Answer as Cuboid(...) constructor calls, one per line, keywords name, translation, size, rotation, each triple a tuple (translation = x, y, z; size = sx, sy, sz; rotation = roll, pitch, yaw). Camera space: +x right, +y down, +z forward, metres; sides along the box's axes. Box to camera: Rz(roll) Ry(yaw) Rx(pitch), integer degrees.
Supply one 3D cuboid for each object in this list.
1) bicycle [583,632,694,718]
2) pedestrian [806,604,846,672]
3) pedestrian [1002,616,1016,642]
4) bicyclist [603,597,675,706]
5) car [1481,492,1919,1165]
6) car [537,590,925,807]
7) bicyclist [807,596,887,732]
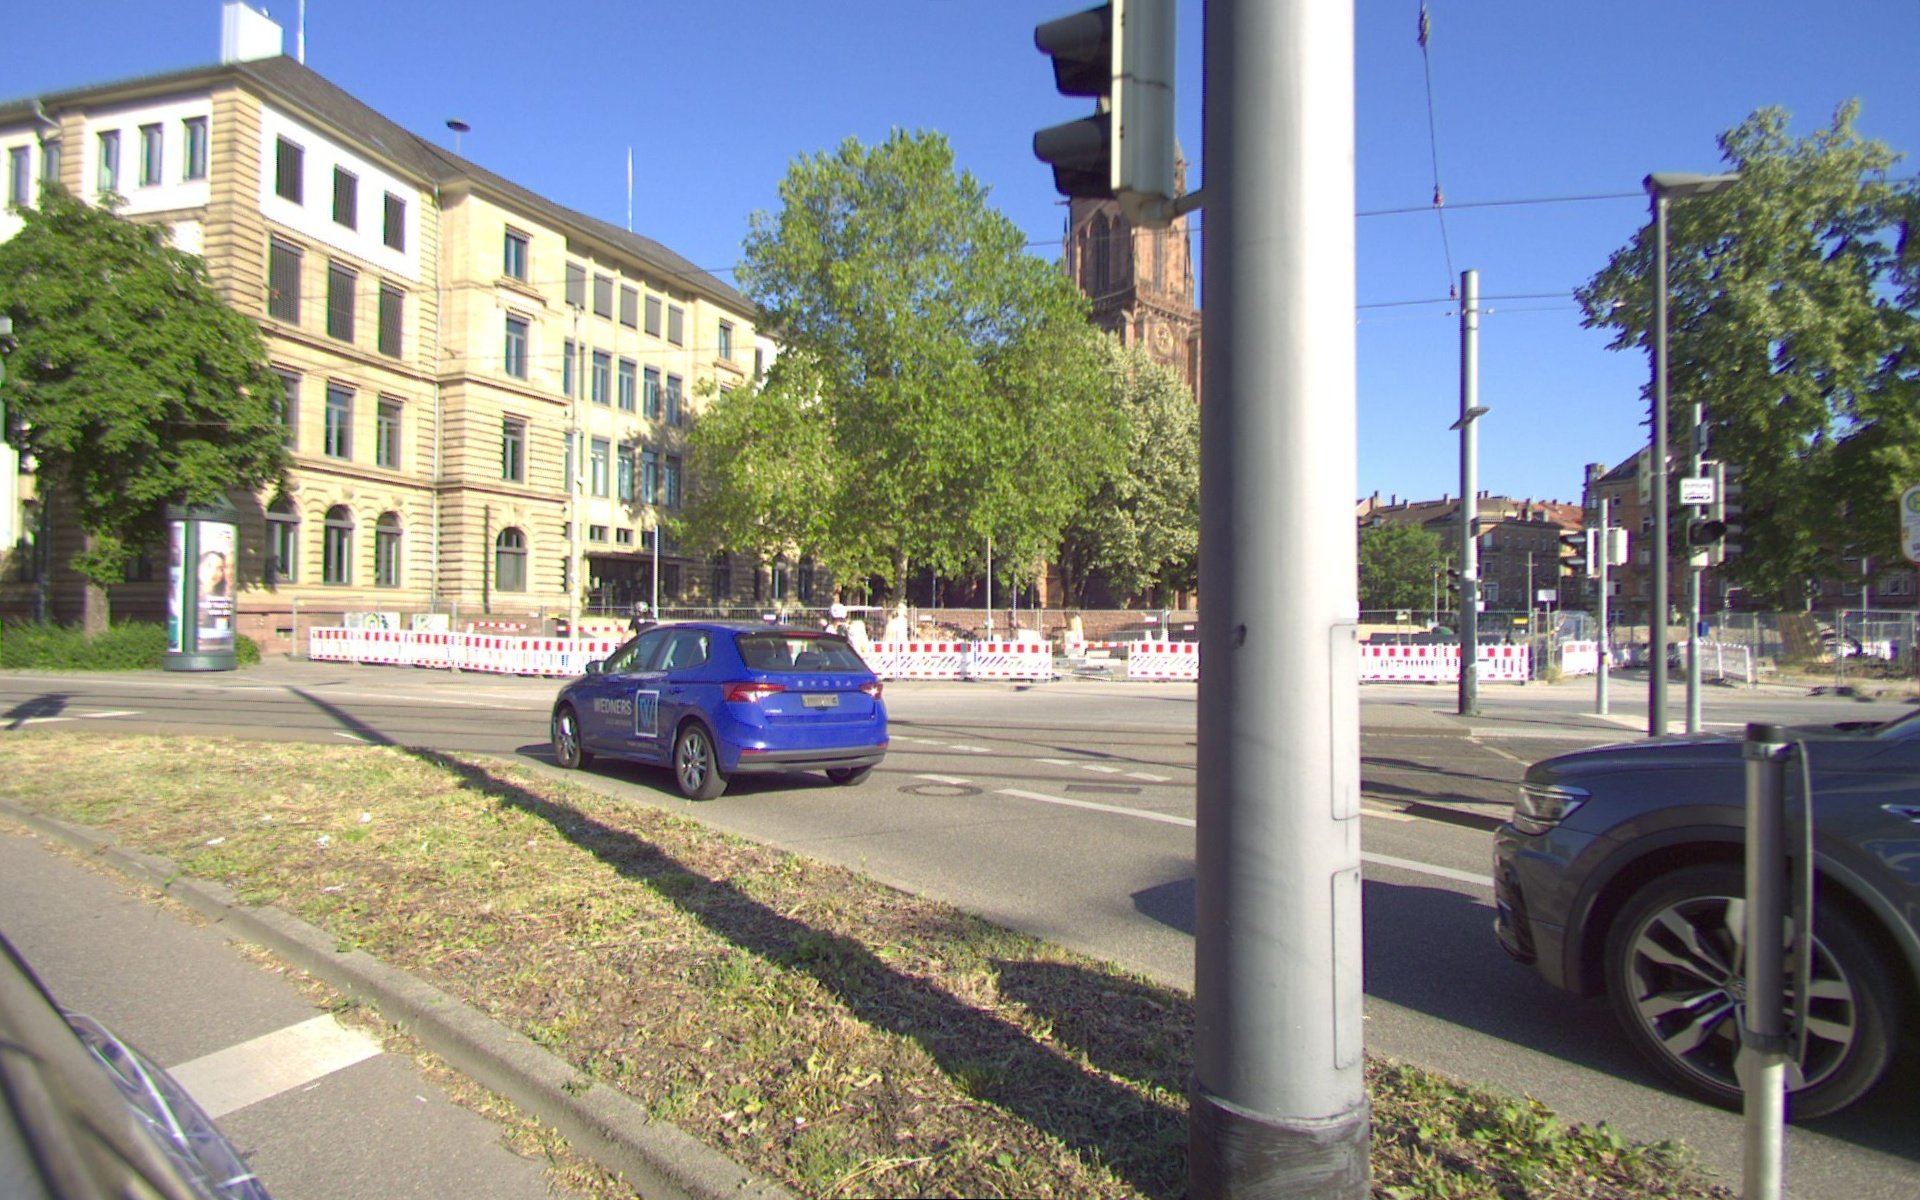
Cuboid(name="bicycle", translation=(-5.196, 1.166, 16.230), size=(0.666, 1.260, 2.459), rotation=(5, -4, -42))
Cuboid(name="pedestrian", translation=(-3.502, 1.002, 26.522), size=(0.888, 1.710, 0.711), rotation=(2, -2, -1))
Cuboid(name="pedestrian", translation=(3.209, 1.862, 65.713), size=(0.674, 1.660, 0.630), rotation=(-1, -1, 37))
Cuboid(name="bicyclist", translation=(-5.135, 0.821, 16.194), size=(0.700, 1.670, 0.902), rotation=(5, -4, -42))
Cuboid(name="car", translation=(3.892, 0.599, 2.274), size=(1.739, 1.719, 4.537), rotation=(3, -3, -41))
Cuboid(name="car", translation=(-2.292, 0.763, 9.434), size=(1.716, 1.586, 3.928), rotation=(5, -3, -43))
Cuboid(name="bicyclist", translation=(-1.447, 0.801, 12.965), size=(0.700, 1.670, 0.744), rotation=(2, -2, -43))
